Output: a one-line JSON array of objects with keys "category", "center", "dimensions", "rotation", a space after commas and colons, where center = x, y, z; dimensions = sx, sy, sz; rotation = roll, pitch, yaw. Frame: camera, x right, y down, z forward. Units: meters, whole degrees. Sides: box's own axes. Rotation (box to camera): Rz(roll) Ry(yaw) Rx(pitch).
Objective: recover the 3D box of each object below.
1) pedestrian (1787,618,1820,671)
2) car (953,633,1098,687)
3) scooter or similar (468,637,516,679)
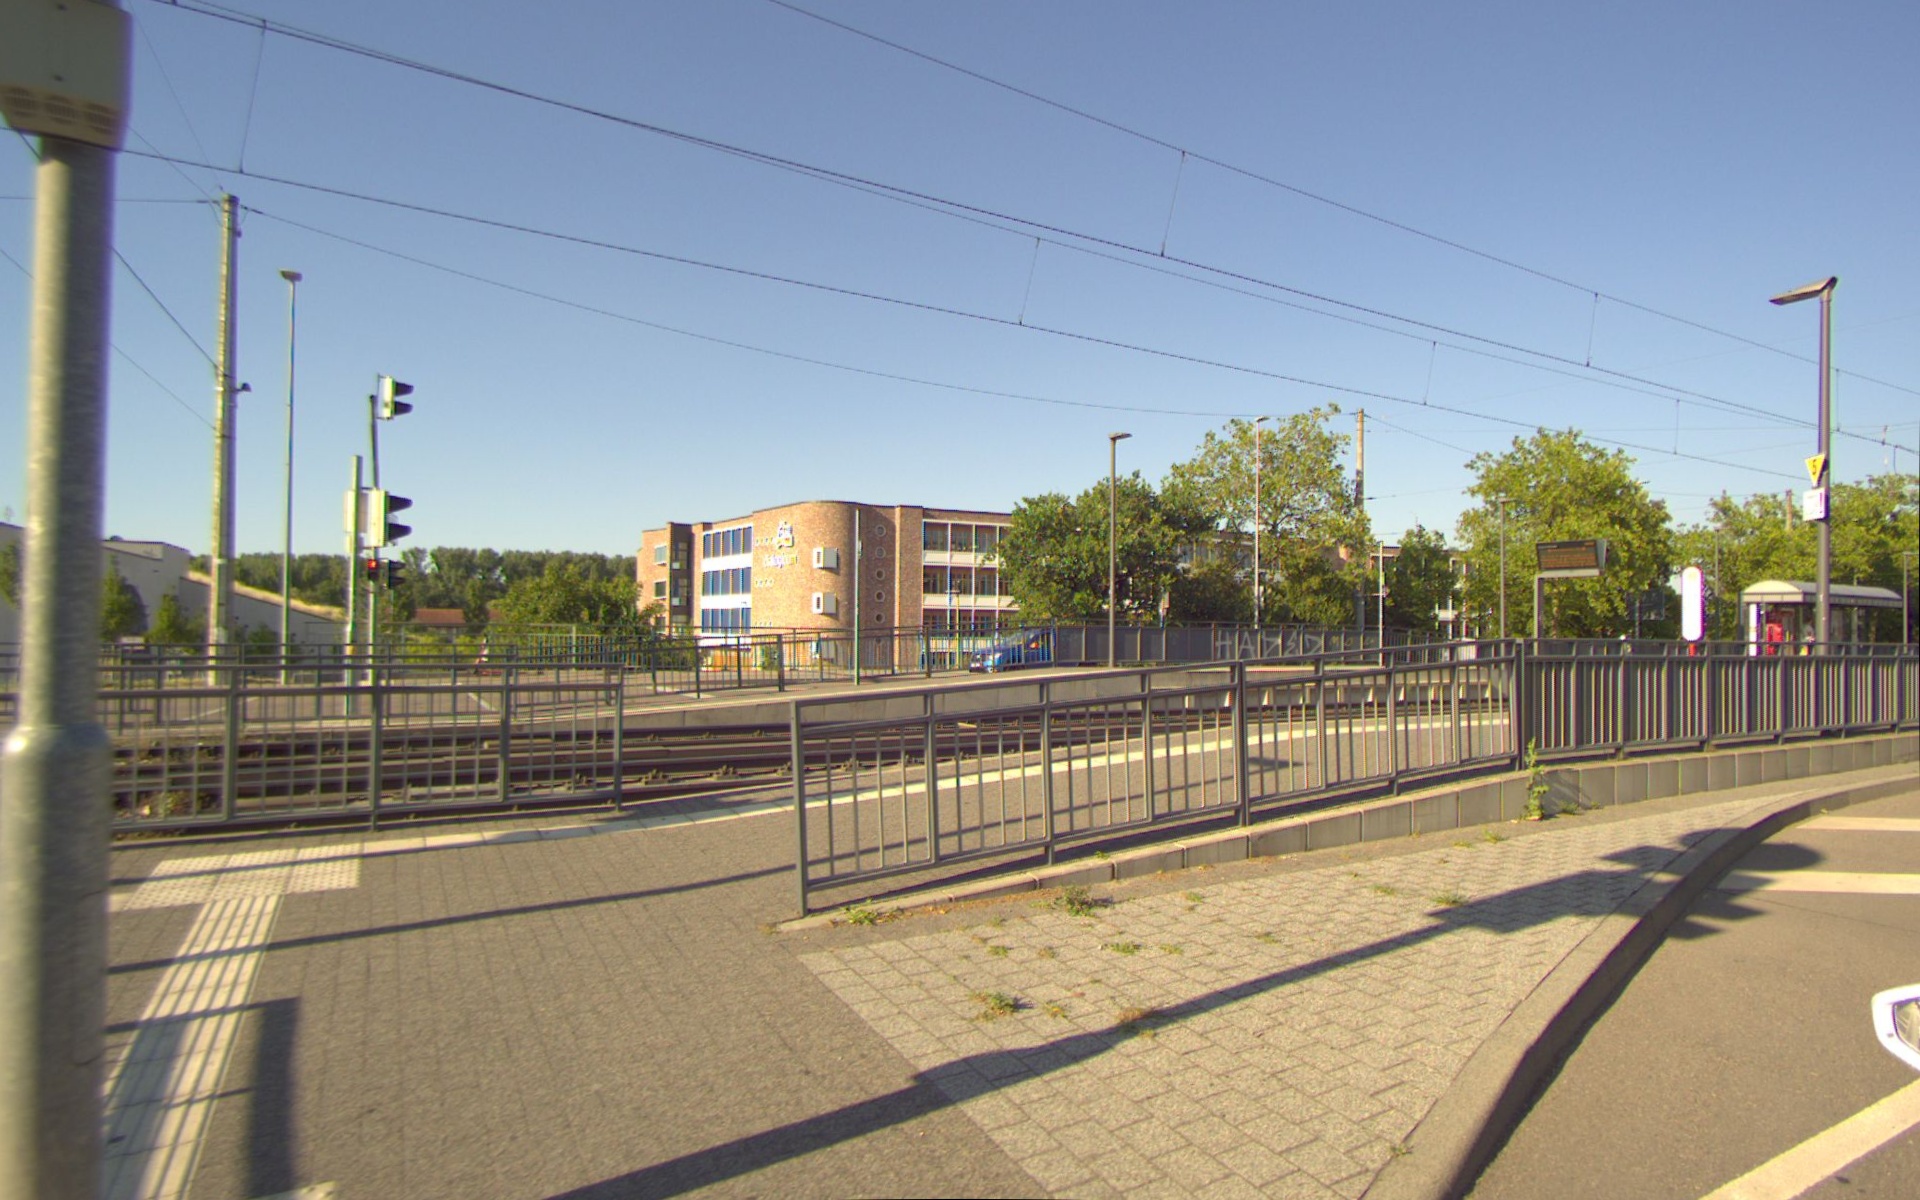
[{"category": "pedestrian", "center": [29.081, 1.522, 34.643], "dimensions": [0.576, 1.780, 0.701], "rotation": [1, -1, 6]}, {"category": "car", "center": [1.924, 1.711, 29.292], "dimensions": [3.953, 1.465, 1.724], "rotation": [2, -2, -30]}, {"category": "scooter or similar", "center": [-12.891, 1.591, 27.678], "dimensions": [1.127, 1.110, 0.399], "rotation": [2, -2, -42]}]
